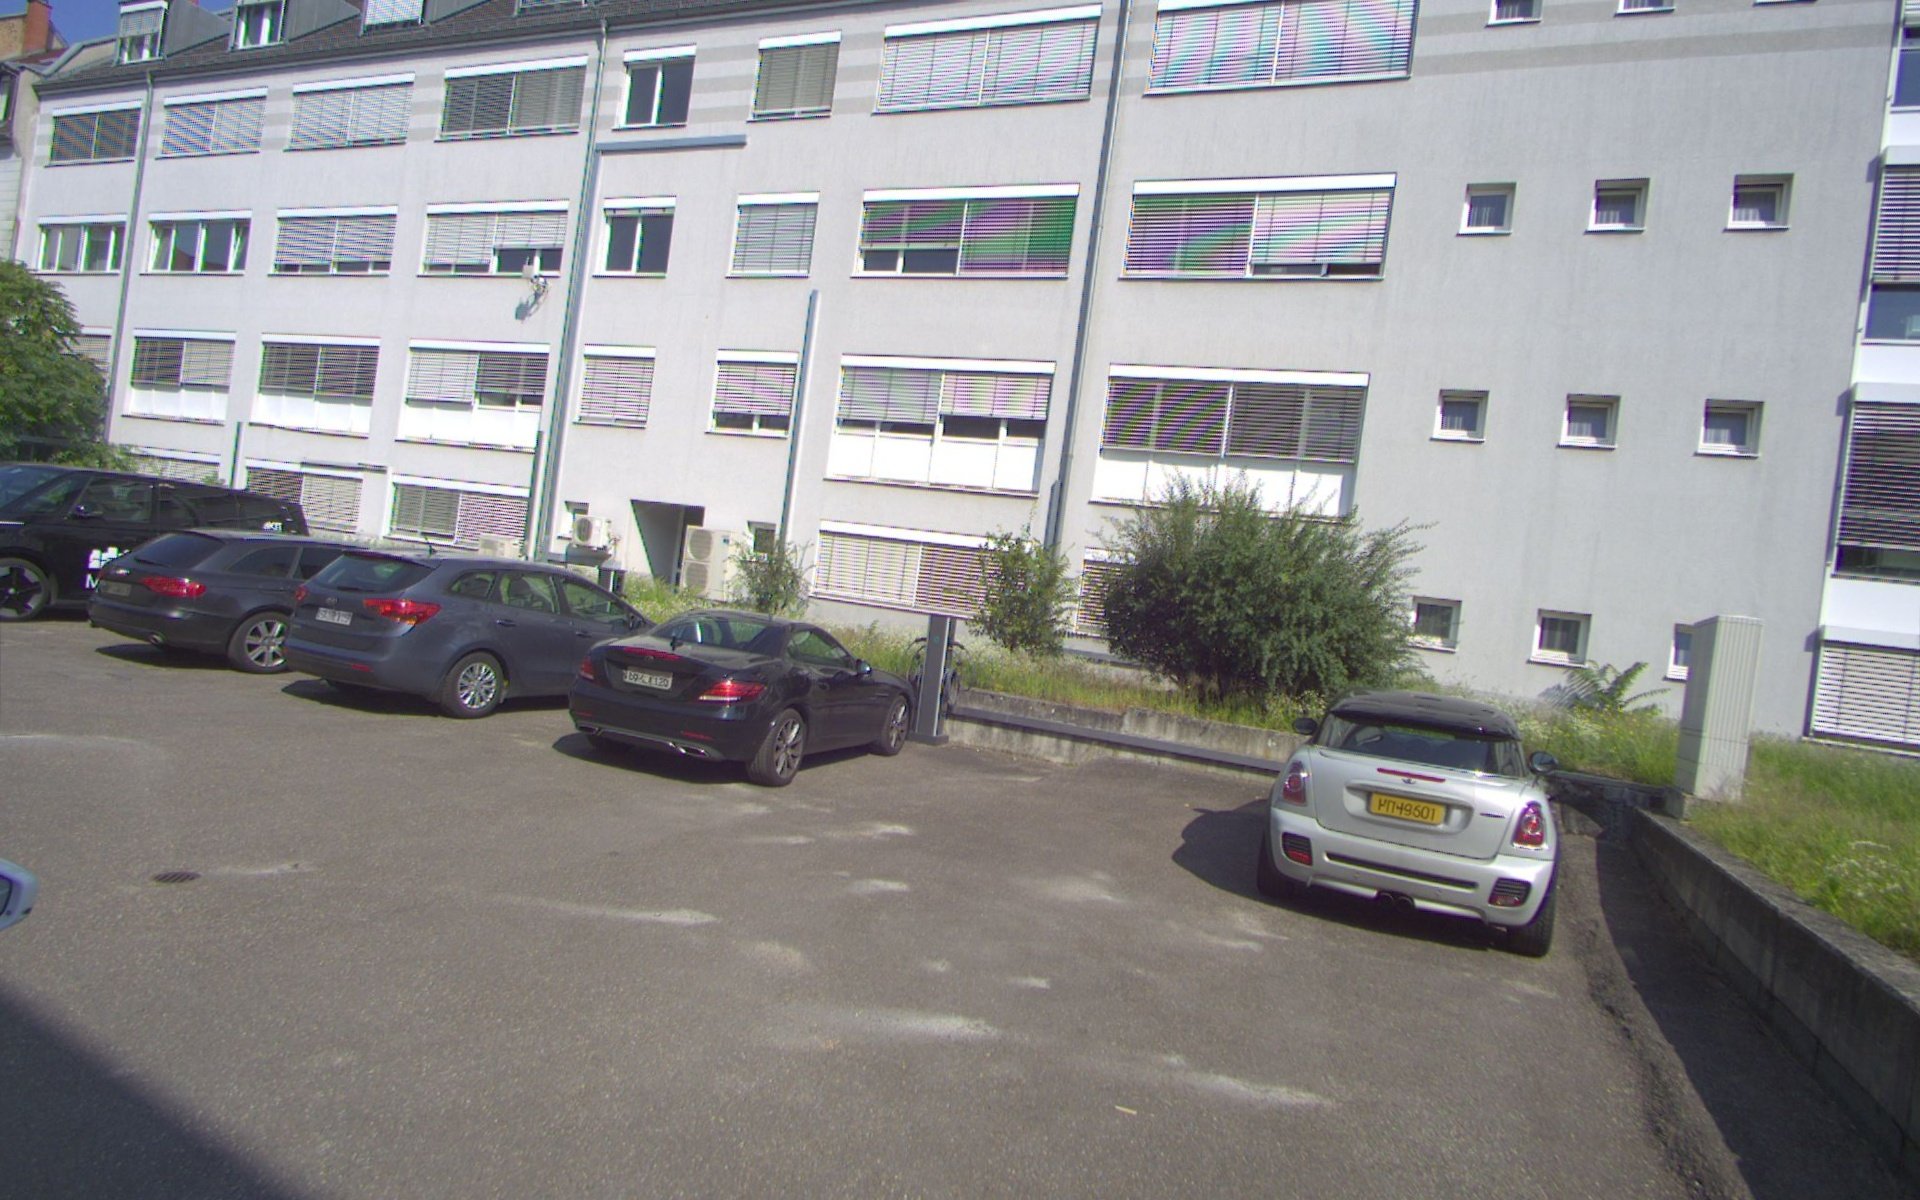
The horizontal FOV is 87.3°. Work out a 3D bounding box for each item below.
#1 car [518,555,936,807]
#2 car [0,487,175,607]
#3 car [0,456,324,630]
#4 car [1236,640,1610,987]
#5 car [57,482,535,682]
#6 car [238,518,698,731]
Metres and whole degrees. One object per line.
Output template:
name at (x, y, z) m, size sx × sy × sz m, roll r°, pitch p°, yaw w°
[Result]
car at (-1.820, 0.697, 9.221) m, size 1.862 × 1.607 × 3.815 m, roll 7°, pitch -2°, yaw 18°
car at (-13.736, -0.856, 14.067) m, size 1.741 × 1.500 × 3.947 m, roll 7°, pitch -1°, yaw 19°
car at (-11.082, -0.694, 13.018) m, size 1.848 × 1.816 × 4.517 m, roll 7°, pitch -1°, yaw 19°
car at (3.341, 1.217, 7.341) m, size 1.771 × 1.566 × 3.623 m, roll 7°, pitch 2°, yaw 26°
car at (-7.251, -0.054, 11.519) m, size 1.739 × 1.711 × 4.130 m, roll 7°, pitch -2°, yaw 25°
car at (-4.749, 0.328, 10.376) m, size 1.845 × 1.607 × 3.876 m, roll 7°, pitch -2°, yaw 23°
